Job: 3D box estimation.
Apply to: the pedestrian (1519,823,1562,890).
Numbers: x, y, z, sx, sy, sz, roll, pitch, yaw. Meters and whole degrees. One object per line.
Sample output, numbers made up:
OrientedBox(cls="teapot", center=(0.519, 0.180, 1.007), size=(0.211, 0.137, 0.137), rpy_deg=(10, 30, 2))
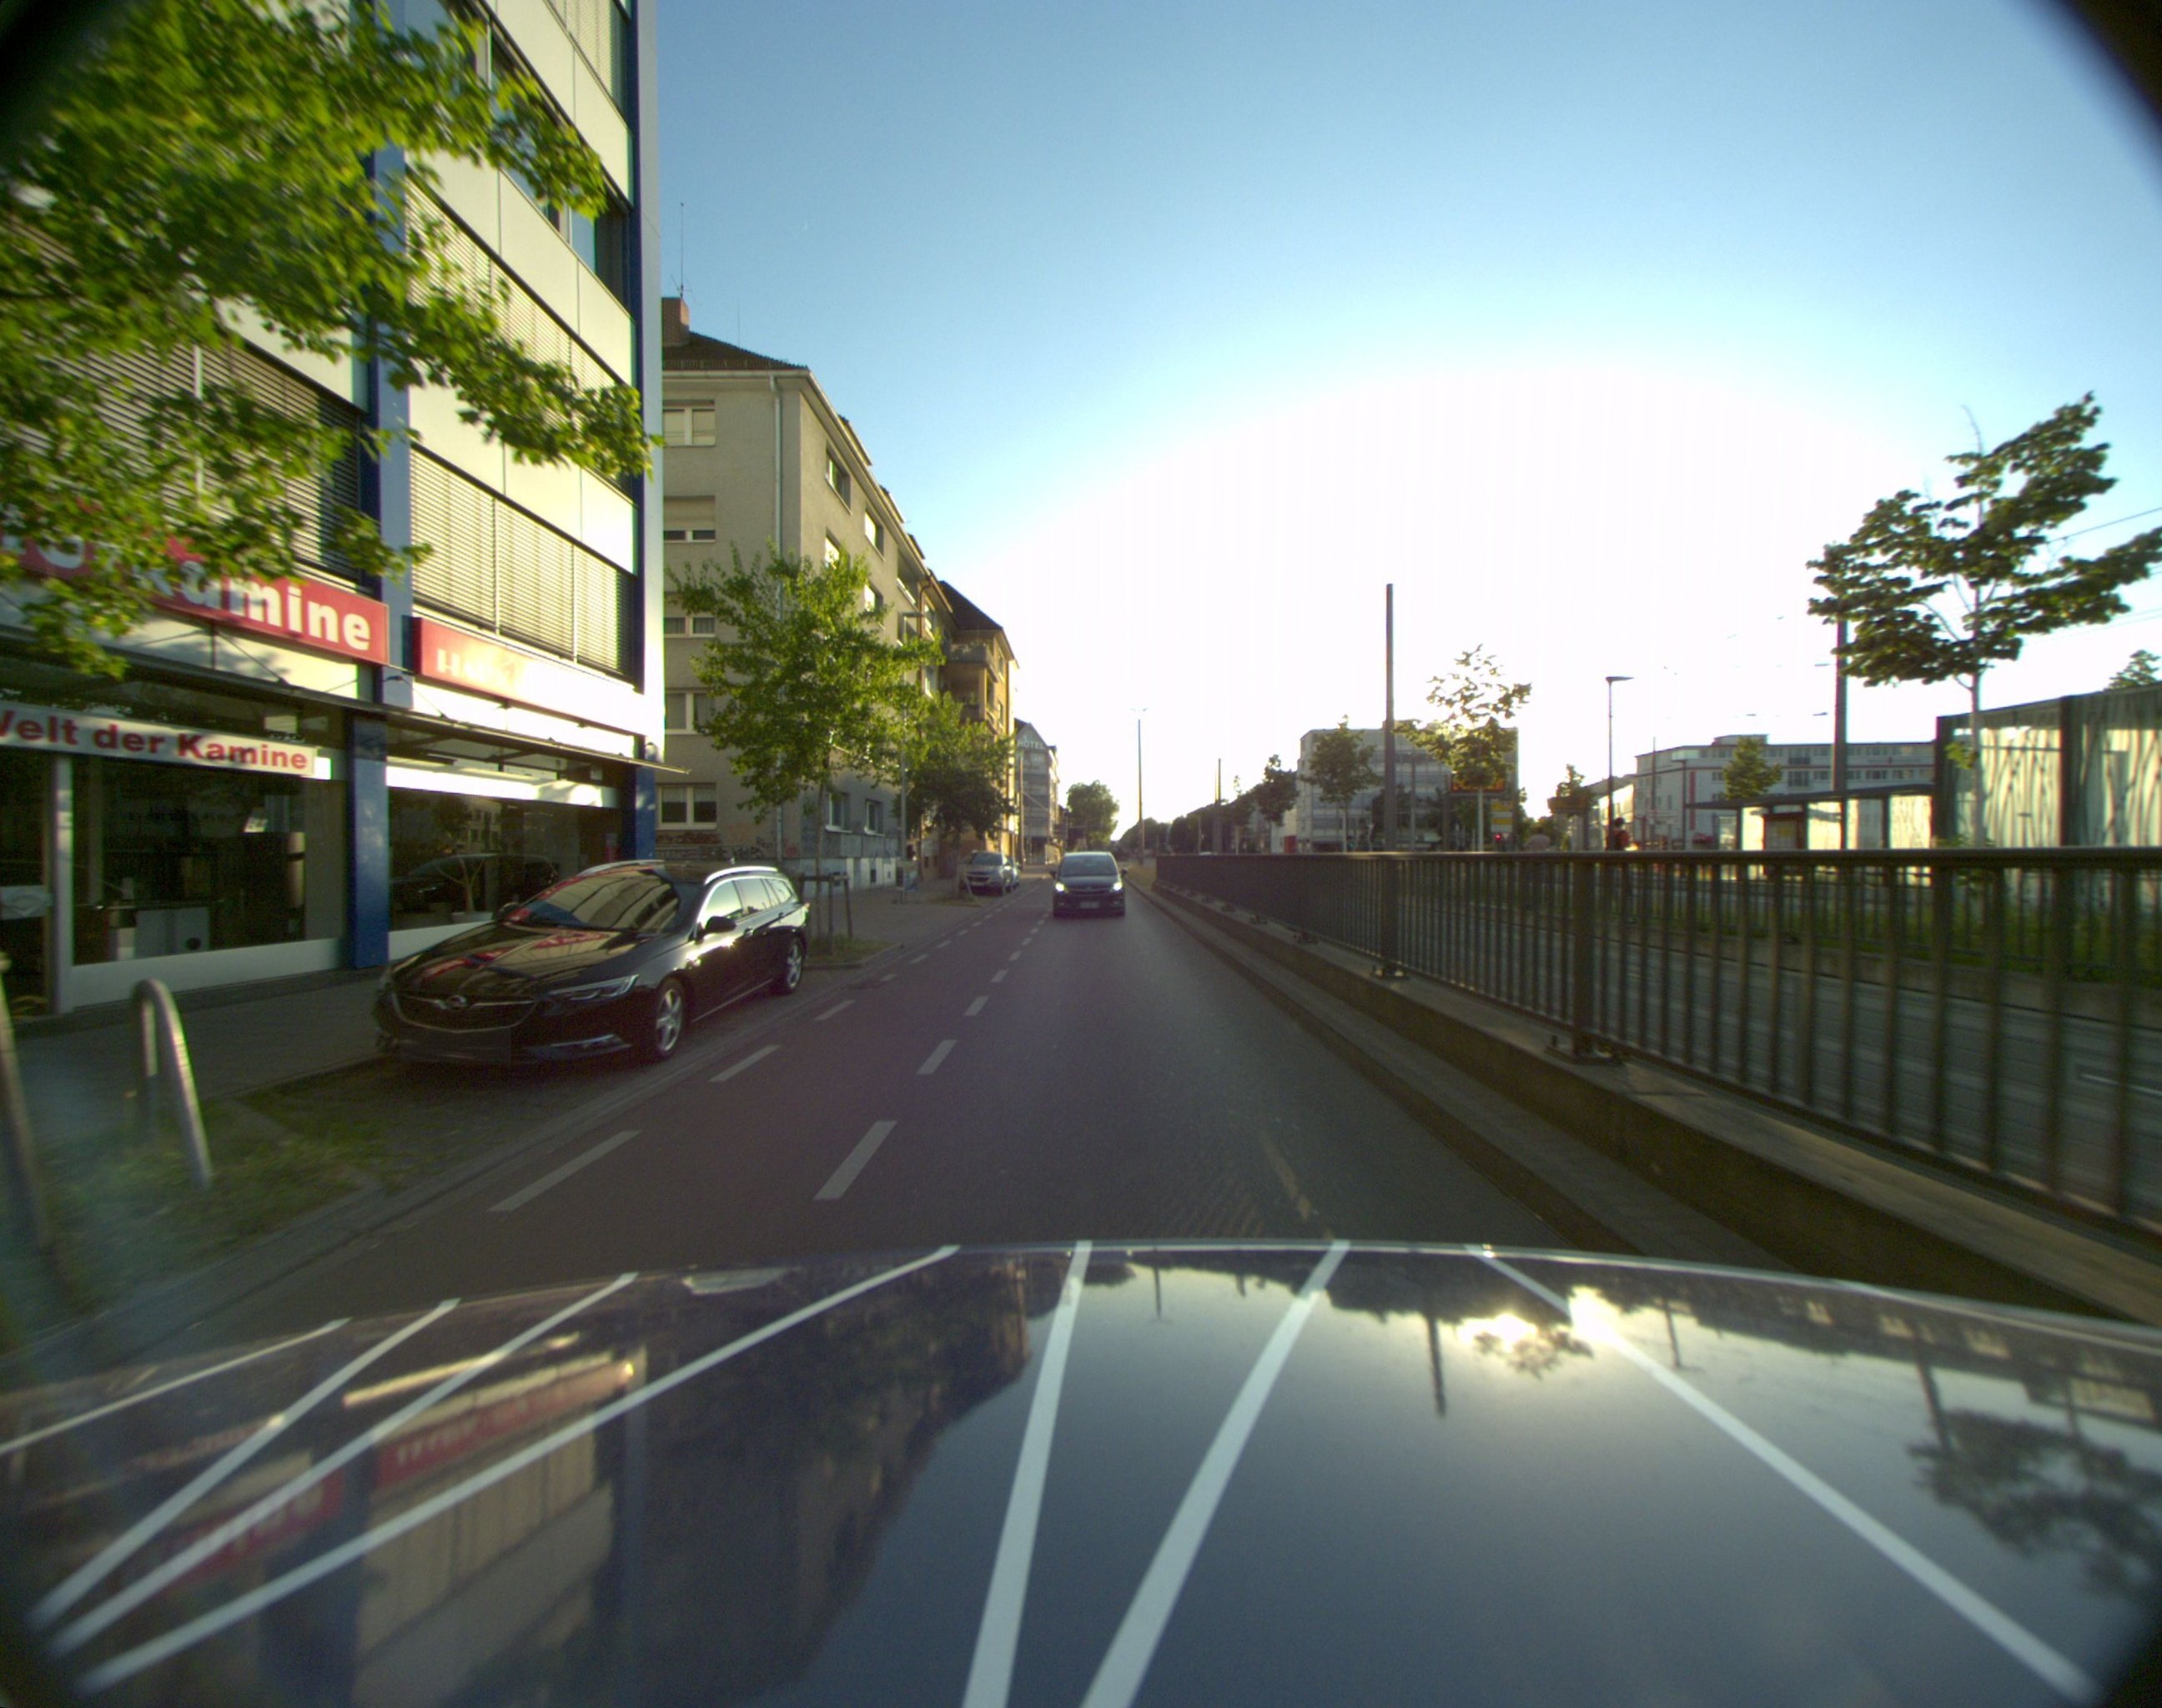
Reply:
OrientedBox(cls="pedestrian", center=(12.200, 0.059, 20.181), size=(0.727, 1.734, 0.636), rpy_deg=(-1, 0, -7))

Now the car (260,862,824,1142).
OrientedBox(cls="car", center=(-4.116, 0.938, 7.064), size=(1.824, 1.557, 4.809), rpy_deg=(3, 0, -1))

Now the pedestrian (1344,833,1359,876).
OrientedBox(cls="pedestrian", center=(11.215, 0.028, 31.515), size=(0.472, 1.776, 0.626), rpy_deg=(-1, 1, 8))

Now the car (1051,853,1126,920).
OrientedBox(cls="car", center=(0.182, 0.779, 20.447), size=(1.800, 1.609, 4.386), rpy_deg=(0, 0, 0))

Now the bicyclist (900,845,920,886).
OrientedBox(cls="bicyclist", center=(-6.409, 0.424, 28.441), size=(0.559, 1.467, 0.622), rpy_deg=(3, 1, -1))

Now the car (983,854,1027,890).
OrientedBox(cls="car", center=(-3.480, 0.791, 35.451), size=(1.674, 1.509, 3.600), rpy_deg=(3, 0, -1))

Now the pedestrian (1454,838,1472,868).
OrientedBox(cls="pedestrian", center=(23.043, -0.089, 45.787), size=(0.696, 1.788, 0.817), rpy_deg=(-1, 1, 3))

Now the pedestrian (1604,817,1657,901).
OrientedBox(cls="pedestrian", center=(11.479, 0.107, 15.888), size=(0.636, 1.719, 0.635), rpy_deg=(0, 1, -12))

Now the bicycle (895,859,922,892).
OrientedBox(cls="bicycle", center=(-6.427, 0.786, 28.440), size=(0.555, 1.123, 1.973), rpy_deg=(3, 1, -1))

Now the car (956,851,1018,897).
OrientedBox(cls="car", center=(-3.625, 0.716, 29.943), size=(1.761, 1.644, 4.528), rpy_deg=(2, 0, 1))
